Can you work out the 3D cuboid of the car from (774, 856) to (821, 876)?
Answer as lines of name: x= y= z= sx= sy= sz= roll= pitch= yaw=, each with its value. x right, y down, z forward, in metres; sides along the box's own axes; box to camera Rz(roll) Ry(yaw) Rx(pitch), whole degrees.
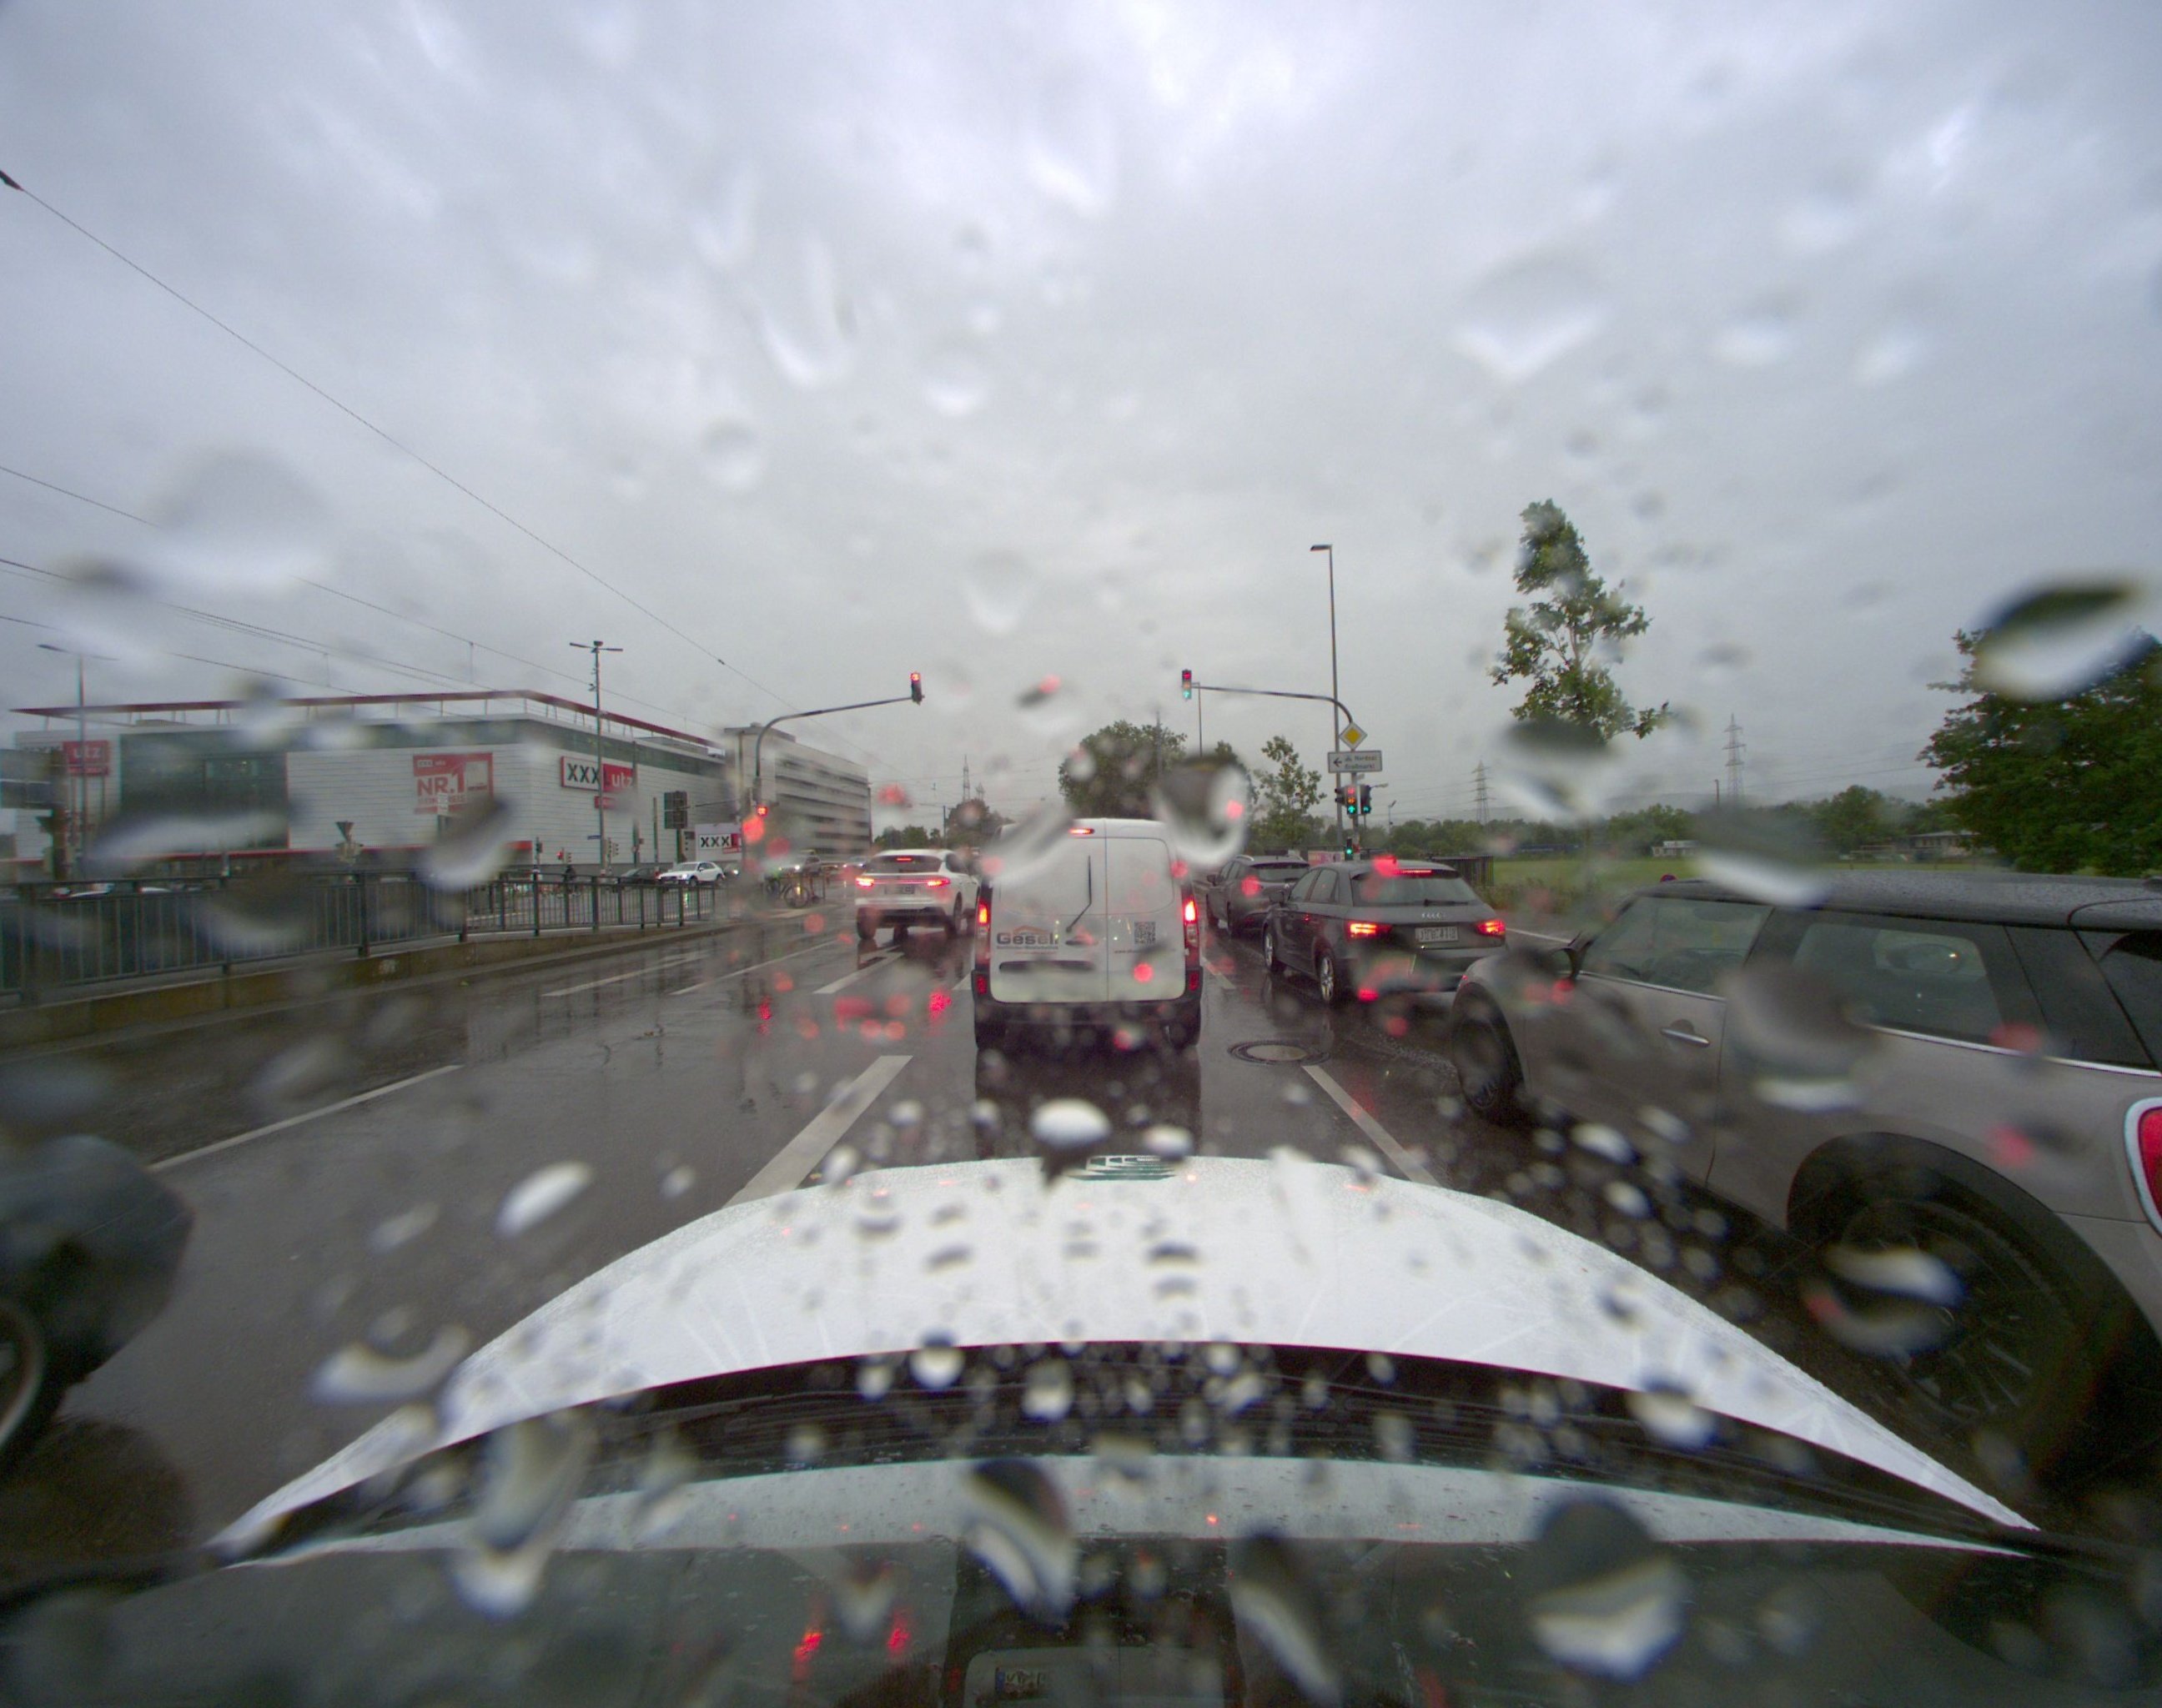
car: x=-19.760 y=0.827 z=56.962 sx=1.579 sy=1.336 sz=3.837 roll=-1 pitch=-1 yaw=6

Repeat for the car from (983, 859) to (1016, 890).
car: x=-5.167 y=1.261 z=51.888 sx=1.990 sy=1.860 sz=3.993 roll=0 pitch=-1 yaw=-5

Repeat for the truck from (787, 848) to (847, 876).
truck: x=-22.395 y=0.665 z=69.607 sx=2.342 sy=2.279 sz=7.637 roll=0 pitch=0 yaw=2

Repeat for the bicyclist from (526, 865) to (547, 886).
bicyclist: x=-29.279 y=1.160 z=43.823 sx=0.681 sy=1.134 sz=0.647 roll=0 pitch=-1 yaw=3

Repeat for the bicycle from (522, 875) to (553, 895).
bicycle: x=-29.225 y=1.660 z=43.777 sx=0.448 sy=0.987 sz=1.710 roll=0 pitch=-1 yaw=3

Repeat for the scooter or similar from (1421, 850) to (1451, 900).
scooter or similar: x=8.464 y=0.497 z=19.433 sx=0.244 sy=1.158 sz=1.187 roll=0 pitch=-1 yaw=3

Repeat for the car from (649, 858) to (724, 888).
car: x=-20.852 y=0.969 z=43.198 sx=1.689 sy=1.492 sz=3.884 roll=-1 pitch=-1 yaw=7

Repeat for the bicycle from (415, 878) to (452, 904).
bicycle: x=-27.839 y=1.583 z=35.058 sx=0.409 sy=1.061 sz=1.508 roll=0 pitch=-1 yaw=-1

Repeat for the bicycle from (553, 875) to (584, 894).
bicycle: x=-26.878 y=1.593 z=42.717 sx=0.448 sy=0.987 sz=1.710 roll=0 pitch=-1 yaw=3

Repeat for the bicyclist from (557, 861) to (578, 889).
bicyclist: x=-26.892 y=1.086 z=42.630 sx=0.681 sy=1.464 sz=0.647 roll=0 pitch=-1 yaw=3

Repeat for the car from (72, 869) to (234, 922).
car: x=-37.659 y=1.661 z=33.123 sx=4.298 sy=2.014 sz=2.001 roll=0 pitch=-1 yaw=1

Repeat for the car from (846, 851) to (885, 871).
car: x=-18.510 y=0.592 z=70.119 sx=1.883 sy=1.699 sz=4.006 roll=0 pitch=-1 yaw=6

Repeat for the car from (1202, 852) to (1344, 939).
car: x=3.495 y=0.695 z=15.537 sx=1.853 sy=1.428 sz=3.808 roll=0 pitch=0 yaw=1

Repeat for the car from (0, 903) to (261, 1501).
car: x=-3.490 y=0.828 z=0.227 sx=1.756 sy=1.398 sz=4.645 roll=0 pitch=-1 yaw=1

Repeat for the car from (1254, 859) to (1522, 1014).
car: x=3.089 y=0.737 z=8.981 sx=1.623 sy=1.344 sz=3.624 roll=0 pitch=0 yaw=1

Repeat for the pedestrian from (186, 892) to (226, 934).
pedestrian: x=-33.235 y=2.227 z=30.930 sx=0.561 sy=1.537 sz=0.872 roll=0 pitch=-1 yaw=1

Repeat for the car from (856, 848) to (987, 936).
car: x=-3.035 y=0.650 z=16.382 sx=1.723 sy=1.535 sz=4.298 roll=0 pitch=0 yaw=1

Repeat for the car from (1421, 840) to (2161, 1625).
car: x=2.950 y=0.720 z=3.256 sx=1.707 sy=1.508 sz=3.624 roll=0 pitch=0 yaw=1

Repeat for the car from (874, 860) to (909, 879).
car: x=-18.012 y=1.460 z=77.569 sx=1.919 sy=1.827 sz=4.007 roll=-1 pitch=-1 yaw=6

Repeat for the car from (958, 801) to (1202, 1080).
car: x=0.055 y=0.573 z=7.294 sx=1.560 sy=1.788 sz=4.002 roll=-1 pitch=0 yaw=2

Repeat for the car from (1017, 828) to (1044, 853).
car: x=-4.474 y=-1.192 z=73.160 sx=1.989 sy=1.859 sz=3.997 roll=-9 pitch=-1 yaw=-2

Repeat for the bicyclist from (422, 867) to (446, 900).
bicyclist: x=-27.827 y=1.257 z=35.034 sx=0.531 sy=1.399 sz=0.650 roll=0 pitch=-1 yaw=-1

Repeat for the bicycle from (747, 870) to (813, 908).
bicycle: x=-8.812 y=1.015 z=23.868 sx=1.745 sy=1.034 sz=0.414 roll=2 pitch=-1 yaw=0

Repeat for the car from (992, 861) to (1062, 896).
car: x=-2.696 y=1.223 z=41.479 sx=1.599 sy=1.660 sz=4.105 roll=-1 pitch=-1 yaw=29

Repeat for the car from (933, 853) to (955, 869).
car: x=-17.544 y=0.943 z=104.310 sx=1.985 sy=2.014 sz=4.004 roll=0 pitch=-1 yaw=3

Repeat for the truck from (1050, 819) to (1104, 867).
truck: x=-0.115 y=-0.608 z=51.899 sx=2.619 sy=2.816 sz=7.157 roll=-1 pitch=-1 yaw=6

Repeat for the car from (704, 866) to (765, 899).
car: x=-23.333 y=1.898 z=55.042 sx=1.984 sy=1.903 sz=4.006 roll=4 pitch=1 yaw=5

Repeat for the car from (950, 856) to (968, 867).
car: x=-17.592 y=1.039 z=117.549 sx=1.755 sy=1.549 sz=3.683 roll=0 pitch=-1 yaw=3
